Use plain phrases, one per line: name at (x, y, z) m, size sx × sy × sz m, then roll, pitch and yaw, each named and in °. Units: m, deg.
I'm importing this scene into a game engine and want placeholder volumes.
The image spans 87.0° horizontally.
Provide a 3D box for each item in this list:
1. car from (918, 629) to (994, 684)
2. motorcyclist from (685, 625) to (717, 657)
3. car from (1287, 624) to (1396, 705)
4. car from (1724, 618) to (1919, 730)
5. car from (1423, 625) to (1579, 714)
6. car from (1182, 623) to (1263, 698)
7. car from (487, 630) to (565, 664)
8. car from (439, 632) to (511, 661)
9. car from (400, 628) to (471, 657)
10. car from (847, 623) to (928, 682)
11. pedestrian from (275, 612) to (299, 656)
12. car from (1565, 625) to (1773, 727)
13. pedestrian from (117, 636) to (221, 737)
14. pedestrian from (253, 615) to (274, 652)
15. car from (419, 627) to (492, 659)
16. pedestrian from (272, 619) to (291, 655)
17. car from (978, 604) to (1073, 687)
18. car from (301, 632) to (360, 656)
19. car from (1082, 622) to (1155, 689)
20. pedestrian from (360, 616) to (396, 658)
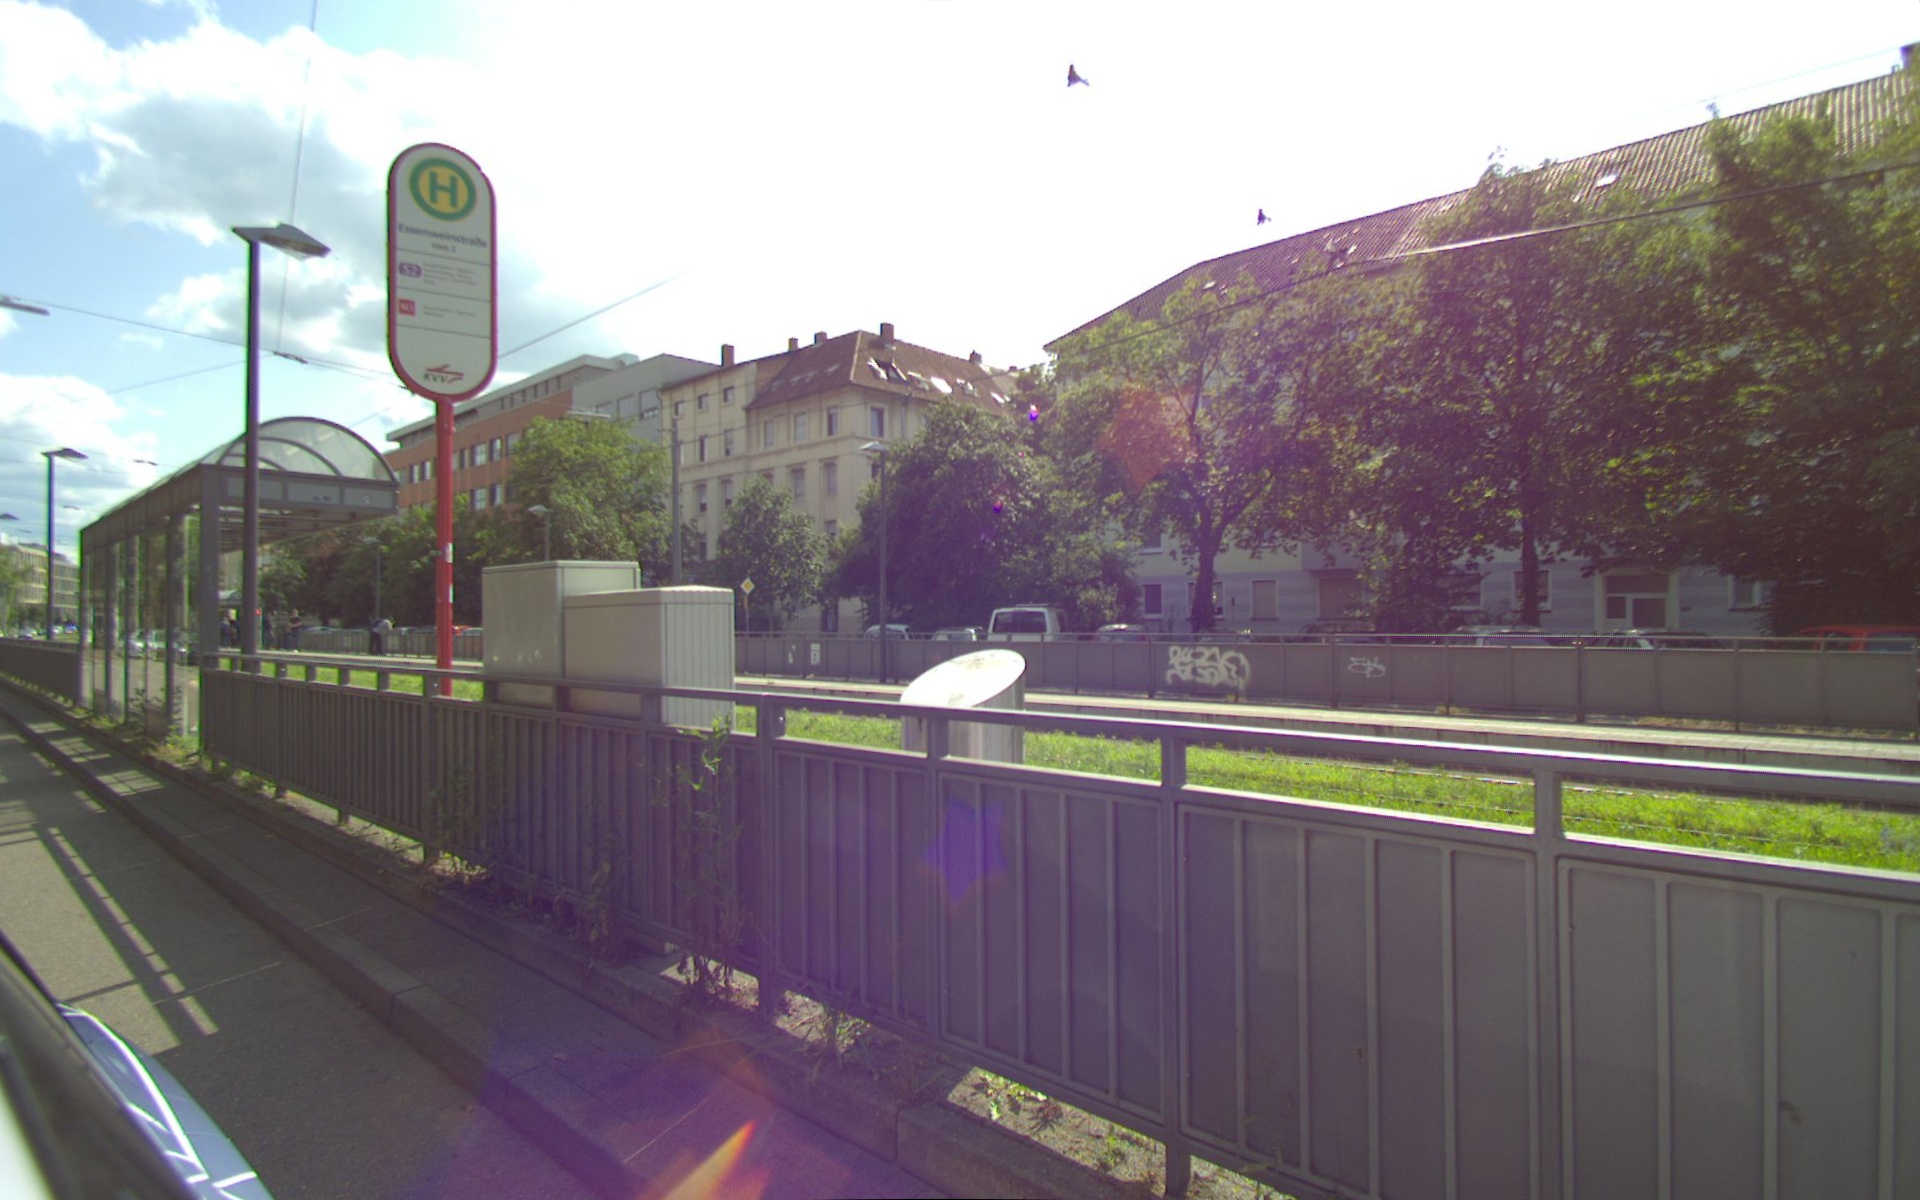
car at (-0.039, 1.614, 29.860) m, size 1.591 × 1.497 × 3.988 m, roll -1°, pitch -2°, yaw 9°
motorcyclist at (-10.910, 1.727, 42.618) m, size 0.987 × 1.349 × 0.928 m, roll -2°, pitch -3°, yaw 44°
car at (8.101, 1.318, 21.783) m, size 1.632 × 1.591 × 3.652 m, roll -1°, pitch -2°, yaw 12°
car at (14.191, 1.105, 16.230) m, size 1.632 × 1.591 × 3.652 m, roll -1°, pitch -2°, yaw 12°
car at (10.215, 1.242, 19.417) m, size 1.593 × 1.525 × 4.011 m, roll -1°, pitch -2°, yaw 13°
car at (6.045, 1.353, 23.639) m, size 1.632 × 1.591 × 3.652 m, roll -1°, pitch -2°, yaw 12°
car at (-21.197, 2.290, 49.632) m, size 1.901 × 1.576 × 4.150 m, roll 0°, pitch -2°, yaw 2°
car at (-25.845, 2.460, 54.099) m, size 1.792 × 1.402 × 4.020 m, roll -2°, pitch -2°, yaw 2°
car at (-30.194, 2.426, 58.415) m, size 1.591 × 1.580 × 3.988 m, roll -1°, pitch -1°, yaw 9°
car at (-2.188, 1.582, 31.509) m, size 1.805 × 1.652 × 3.992 m, roll -2°, pitch -2°, yaw 6°
pedestrian at (-29.568, 1.475, 44.460) m, size 0.742 × 1.906 × 0.639 m, roll 1°, pitch 0°, yaw -45°
car at (12.273, 1.249, 17.806) m, size 1.632 × 1.591 × 3.652 m, roll -1°, pitch -2°, yaw 12°
pedestrian at (-8.828, 0.945, 11.325) m, size 0.652 × 1.080 × 0.725 m, roll 0°, pitch -2°, yaw -13°
pedestrian at (-32.896, 1.573, 47.803) m, size 0.599 × 1.767 × 0.626 m, roll 0°, pitch -1°, yaw -7°
car at (-28.062, 2.366, 56.457) m, size 1.811 × 1.652 × 4.132 m, roll 0°, pitch -1°, yaw 3°
pedestrian at (-32.388, 1.747, 48.324) m, size 0.625 × 1.687 × 0.600 m, roll -1°, pitch -1°, yaw 43°
car at (1.857, 1.200, 27.483) m, size 2.029 × 2.086 × 3.937 m, roll -1°, pitch -2°, yaw 12°
car at (-43.481, 3.009, 69.994) m, size 1.569 × 1.431 × 3.299 m, roll -1°, pitch 0°, yaw 13°
car at (4.162, 1.386, 26.192) m, size 1.701 × 1.591 × 3.937 m, roll -1°, pitch -2°, yaw 11°
pedestrian at (-22.494, 1.411, 39.096) m, size 0.798 × 1.590 × 0.978 m, roll -1°, pitch -2°, yaw 40°
